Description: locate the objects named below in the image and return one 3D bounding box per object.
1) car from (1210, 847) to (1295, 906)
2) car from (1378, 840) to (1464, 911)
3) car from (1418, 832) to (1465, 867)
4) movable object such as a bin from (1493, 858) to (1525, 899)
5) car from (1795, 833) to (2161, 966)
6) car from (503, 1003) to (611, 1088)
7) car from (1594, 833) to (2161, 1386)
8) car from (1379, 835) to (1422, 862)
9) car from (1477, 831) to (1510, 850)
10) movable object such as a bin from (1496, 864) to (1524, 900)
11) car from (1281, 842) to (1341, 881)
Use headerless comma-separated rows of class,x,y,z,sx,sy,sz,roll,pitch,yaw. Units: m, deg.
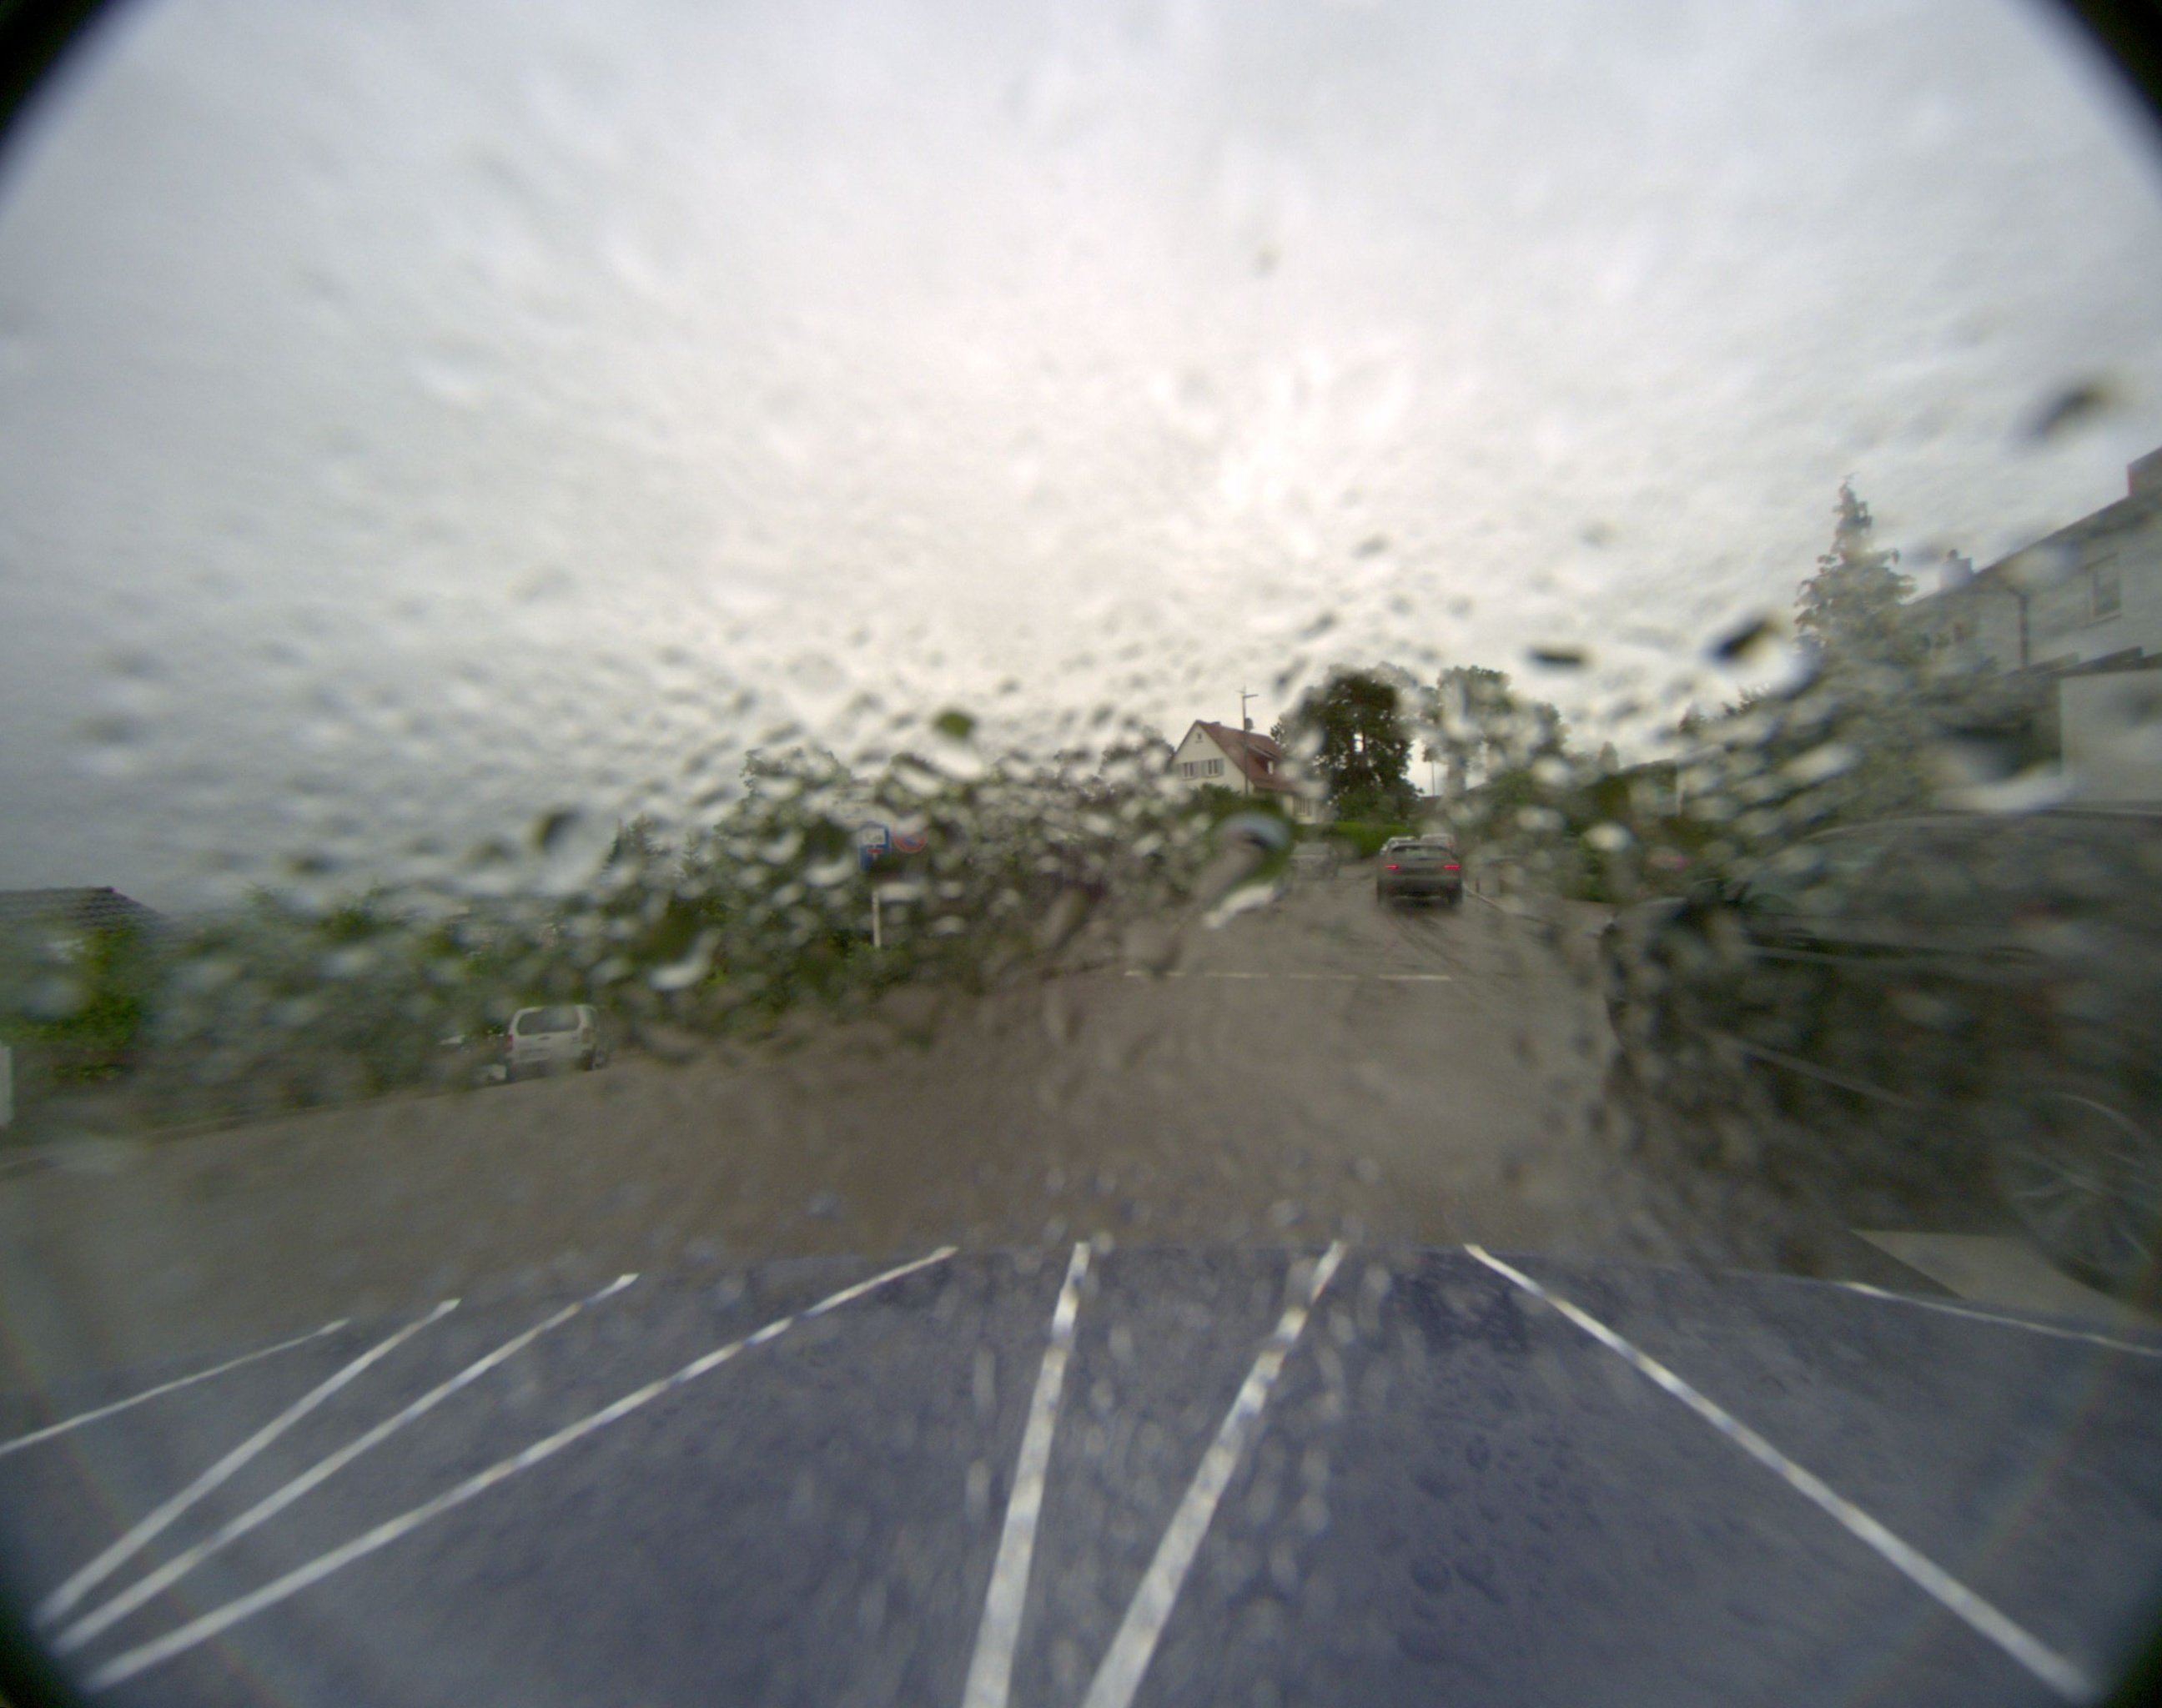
car,5.071,0.589,22.043,1.797,1.460,4.221,-2,1,21
car,8.697,0.481,19.689,1.790,1.585,4.221,-2,1,21
car,20.188,-0.268,42.469,1.777,1.854,4.223,-1,1,34
movable object such as a bin,11.573,0.653,20.569,0.692,1.085,0.421,1,1,23
car,11.775,0.481,9.358,3.989,1.432,1.771,0,2,27
car,-13.615,4.998,19.949,1.757,1.728,4.000,-3,-11,-27
car,4.315,0.721,3.245,1.933,1.596,4.346,-1,1,10
car,21.246,-0.371,50.473,1.661,1.630,4.223,-2,1,36
car,37.236,-1.229,68.595,1.661,1.630,4.224,-1,1,42
movable object such as a bin,11.372,0.726,20.141,0.579,0.934,0.504,1,1,23
car,10.376,0.306,34.127,1.903,1.532,4.222,-2,1,26
